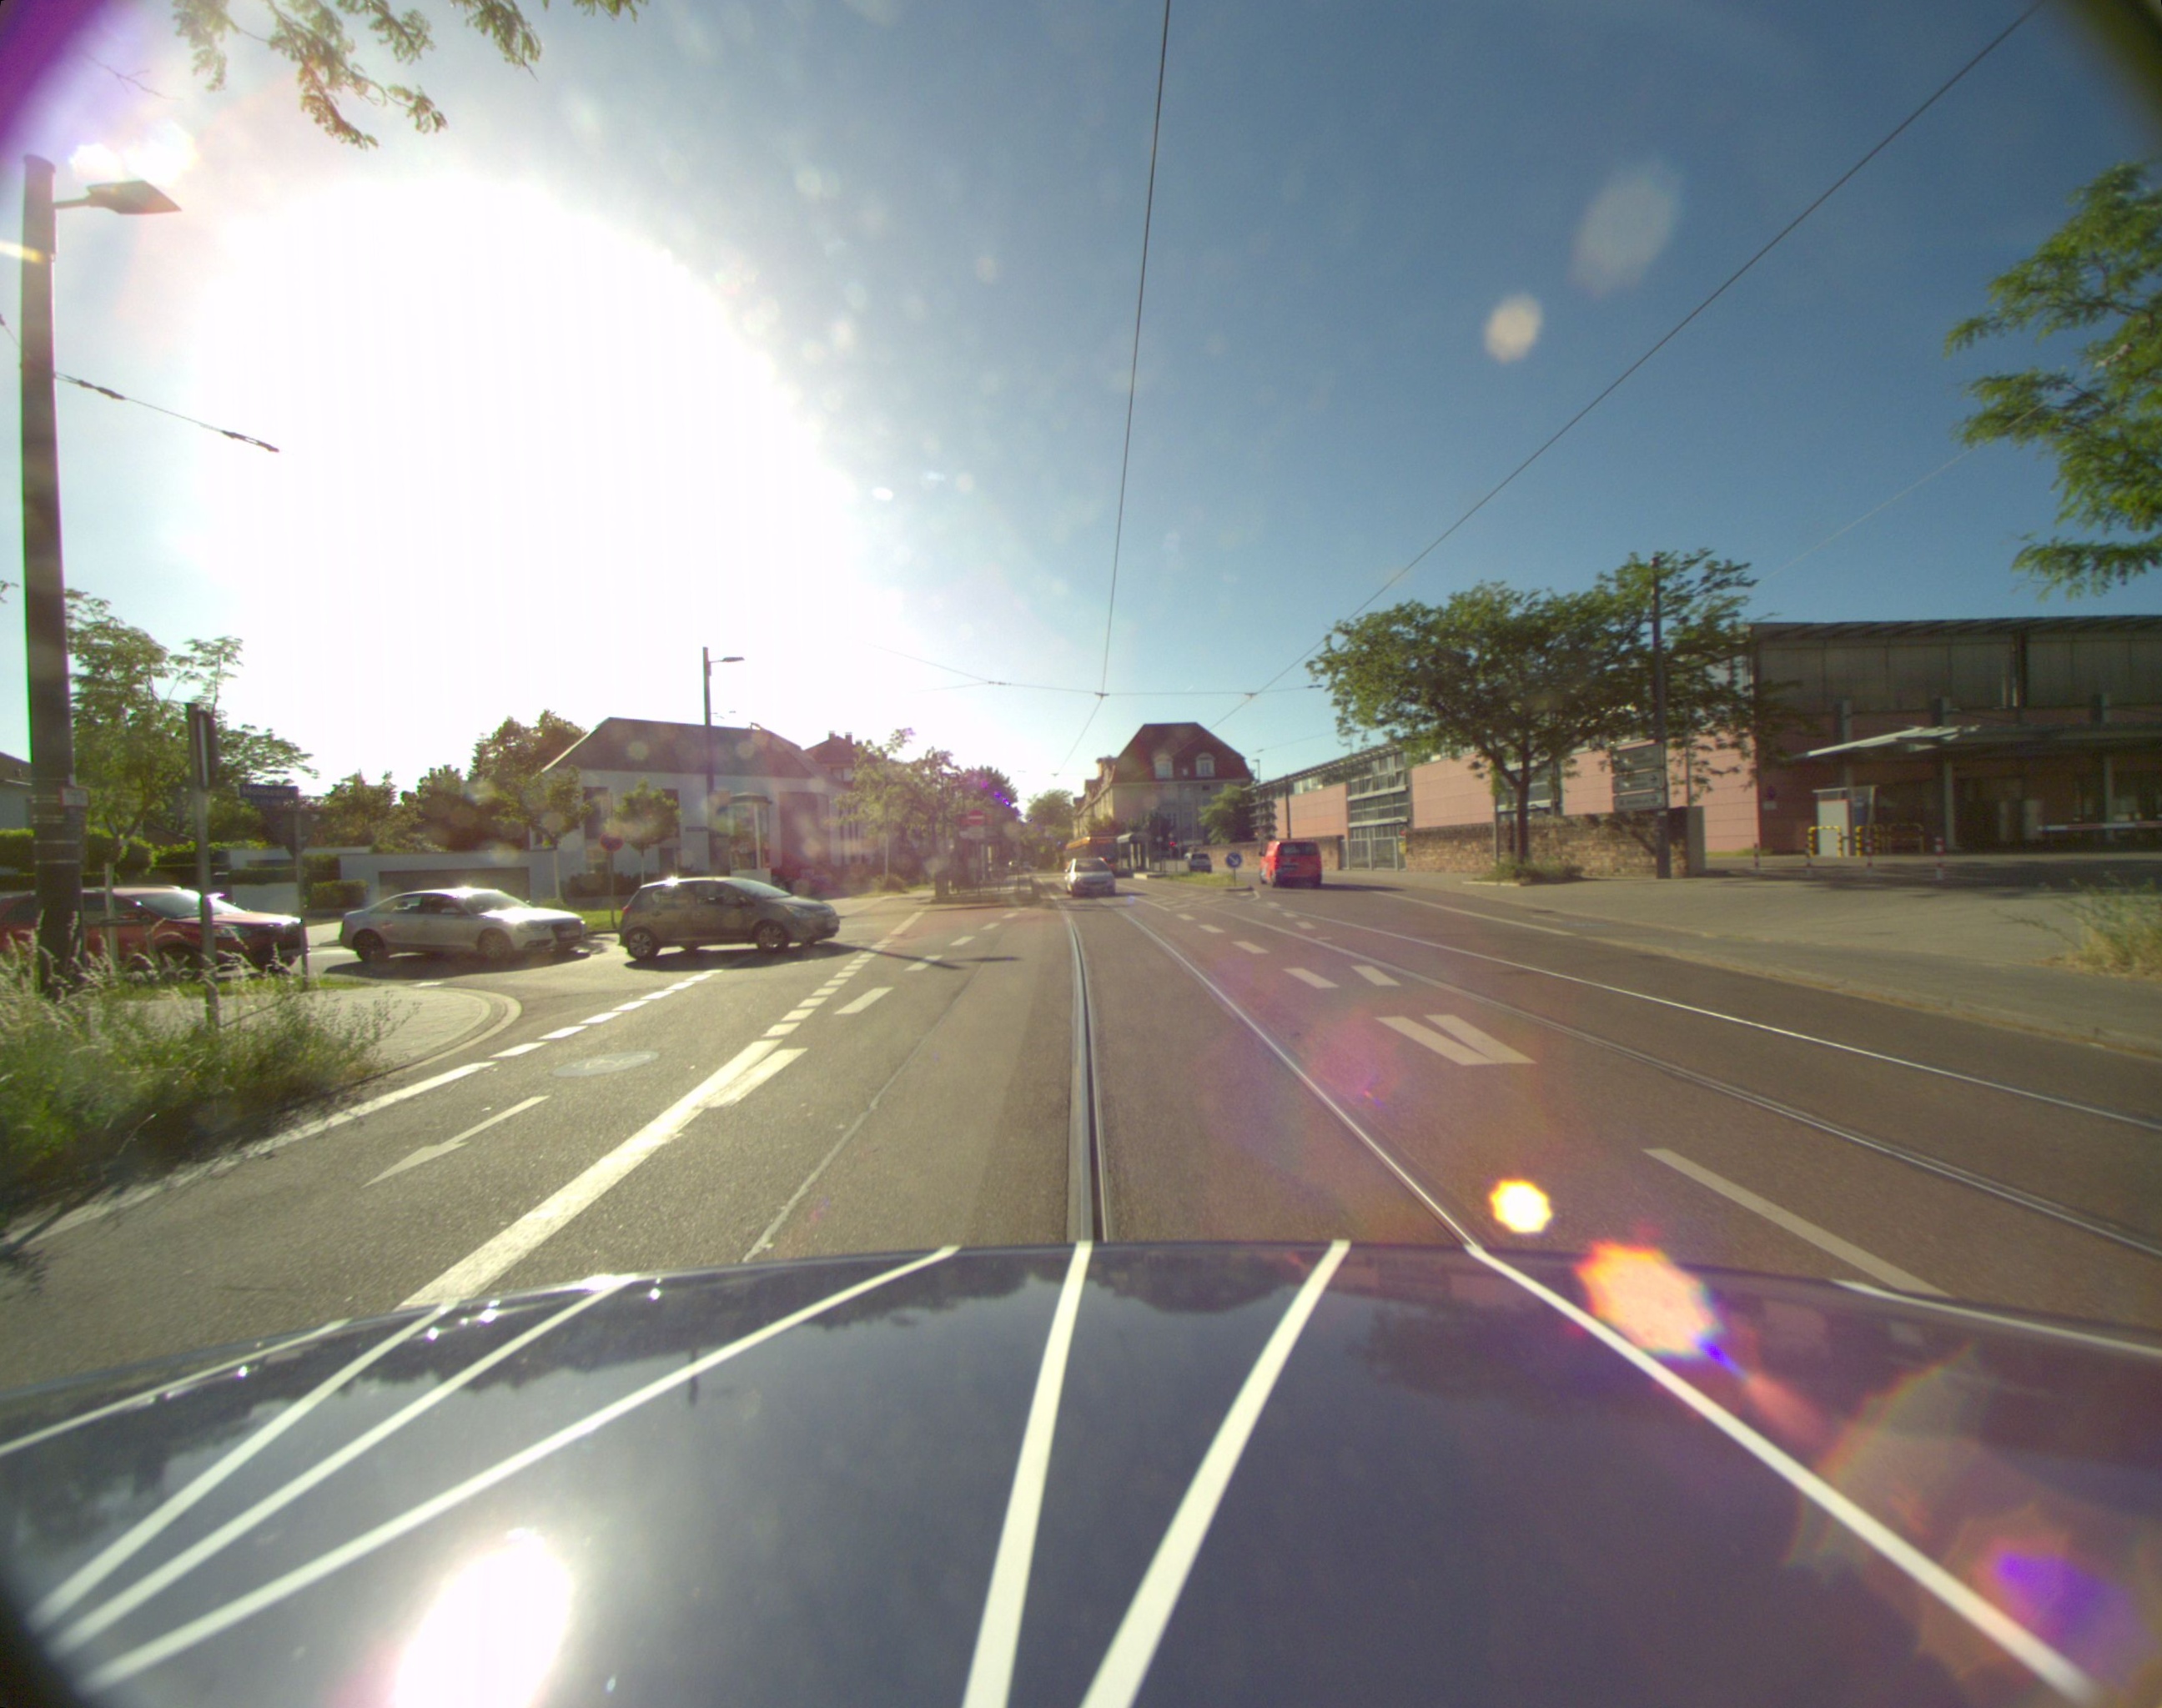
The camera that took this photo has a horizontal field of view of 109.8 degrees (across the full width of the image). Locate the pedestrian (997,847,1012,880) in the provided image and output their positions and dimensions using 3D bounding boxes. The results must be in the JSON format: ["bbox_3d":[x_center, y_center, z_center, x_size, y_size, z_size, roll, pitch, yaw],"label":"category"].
[{"bbox_3d":[-4.489,0.556,44.619,0.713,1.843,0.729,-4,1,-2],"label":"pedestrian"}]

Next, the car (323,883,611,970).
[{"bbox_3d":[-12.674,1.480,15.850,4.612,1.458,1.982,-2,2,8],"label":"car"}]

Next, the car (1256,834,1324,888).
[{"bbox_3d":[8.436,0.239,31.081,1.997,1.954,4.937,-2,0,8],"label":"car"}]

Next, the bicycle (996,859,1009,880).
[{"bbox_3d":[-4.838,0.917,46.756,0.621,1.222,1.965,-3,0,-8],"label":"bicycle"}]

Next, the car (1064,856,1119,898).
[{"bbox_3d":[0.362,0.845,29.549,1.742,1.450,3.692,-2,0,-5],"label":"car"}]

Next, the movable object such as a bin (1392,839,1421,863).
[{"bbox_3d":[17.664,-0.173,41.226,0.883,1.277,1.308,-2,0,-6],"label":"movable object such as a bin"}]

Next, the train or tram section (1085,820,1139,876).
[{"bbox_3d":[1.981,-0.349,51.735,2.812,3.439,6.666,-3,0,-4],"label":"train or tram section"}]

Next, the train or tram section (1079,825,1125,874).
[{"bbox_3d":[1.524,-0.323,58.392,2.812,3.439,6.666,-3,0,-4],"label":"train or tram section"}]

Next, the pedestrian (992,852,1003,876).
[{"bbox_3d":[-6.209,0.740,56.785,0.673,1.694,0.690,-4,1,-5],"label":"pedestrian"}]

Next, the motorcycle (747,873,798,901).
[{"bbox_3d":[-14.038,1.480,34.638,2.005,1.151,0.861,-2,0,-10],"label":"motorcycle"}]

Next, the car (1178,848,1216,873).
[{"bbox_3d":[8.254,0.425,54.417,1.769,1.654,4.209,-2,0,-3],"label":"car"}]

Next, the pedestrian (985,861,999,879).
[{"bbox_3d":[-5.638,1.011,48.193,0.740,1.111,0.658,-4,1,-4],"label":"pedestrian"}]

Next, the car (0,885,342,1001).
[{"bbox_3d":[-16.178,1.500,13.363,4.175,1.632,1.981,-3,0,-6],"label":"car"}]

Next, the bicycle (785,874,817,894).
[{"bbox_3d":[-14.604,1.561,39.651,1.475,0.973,0.415,-2,1,-10],"label":"bicycle"}]

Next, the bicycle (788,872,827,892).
[{"bbox_3d":[-14.782,1.521,41.128,1.904,0.973,0.491,-2,1,-10],"label":"bicycle"}]

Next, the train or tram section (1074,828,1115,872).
[{"bbox_3d":[1.081,-0.297,65.060,2.812,3.439,6.666,-3,0,-4],"label":"train or tram section"}]

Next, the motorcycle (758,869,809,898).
[{"bbox_3d":[-14.128,1.371,36.158,2.084,1.267,0.861,-2,1,-10],"label":"motorcycle"}]

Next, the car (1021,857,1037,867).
[{"bbox_3d":[-7.808,1.201,113.746,1.744,1.450,3.690,-2,0,-12],"label":"car"}]

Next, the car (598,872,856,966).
[{"bbox_3d":[-6.699,1.205,14.680,3.995,1.499,1.983,-3,0,6],"label":"car"}]

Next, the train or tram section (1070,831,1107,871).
[{"bbox_3d":[0.633,-0.268,71.483,2.812,3.439,6.666,-3,0,-4],"label":"train or tram section"}]
